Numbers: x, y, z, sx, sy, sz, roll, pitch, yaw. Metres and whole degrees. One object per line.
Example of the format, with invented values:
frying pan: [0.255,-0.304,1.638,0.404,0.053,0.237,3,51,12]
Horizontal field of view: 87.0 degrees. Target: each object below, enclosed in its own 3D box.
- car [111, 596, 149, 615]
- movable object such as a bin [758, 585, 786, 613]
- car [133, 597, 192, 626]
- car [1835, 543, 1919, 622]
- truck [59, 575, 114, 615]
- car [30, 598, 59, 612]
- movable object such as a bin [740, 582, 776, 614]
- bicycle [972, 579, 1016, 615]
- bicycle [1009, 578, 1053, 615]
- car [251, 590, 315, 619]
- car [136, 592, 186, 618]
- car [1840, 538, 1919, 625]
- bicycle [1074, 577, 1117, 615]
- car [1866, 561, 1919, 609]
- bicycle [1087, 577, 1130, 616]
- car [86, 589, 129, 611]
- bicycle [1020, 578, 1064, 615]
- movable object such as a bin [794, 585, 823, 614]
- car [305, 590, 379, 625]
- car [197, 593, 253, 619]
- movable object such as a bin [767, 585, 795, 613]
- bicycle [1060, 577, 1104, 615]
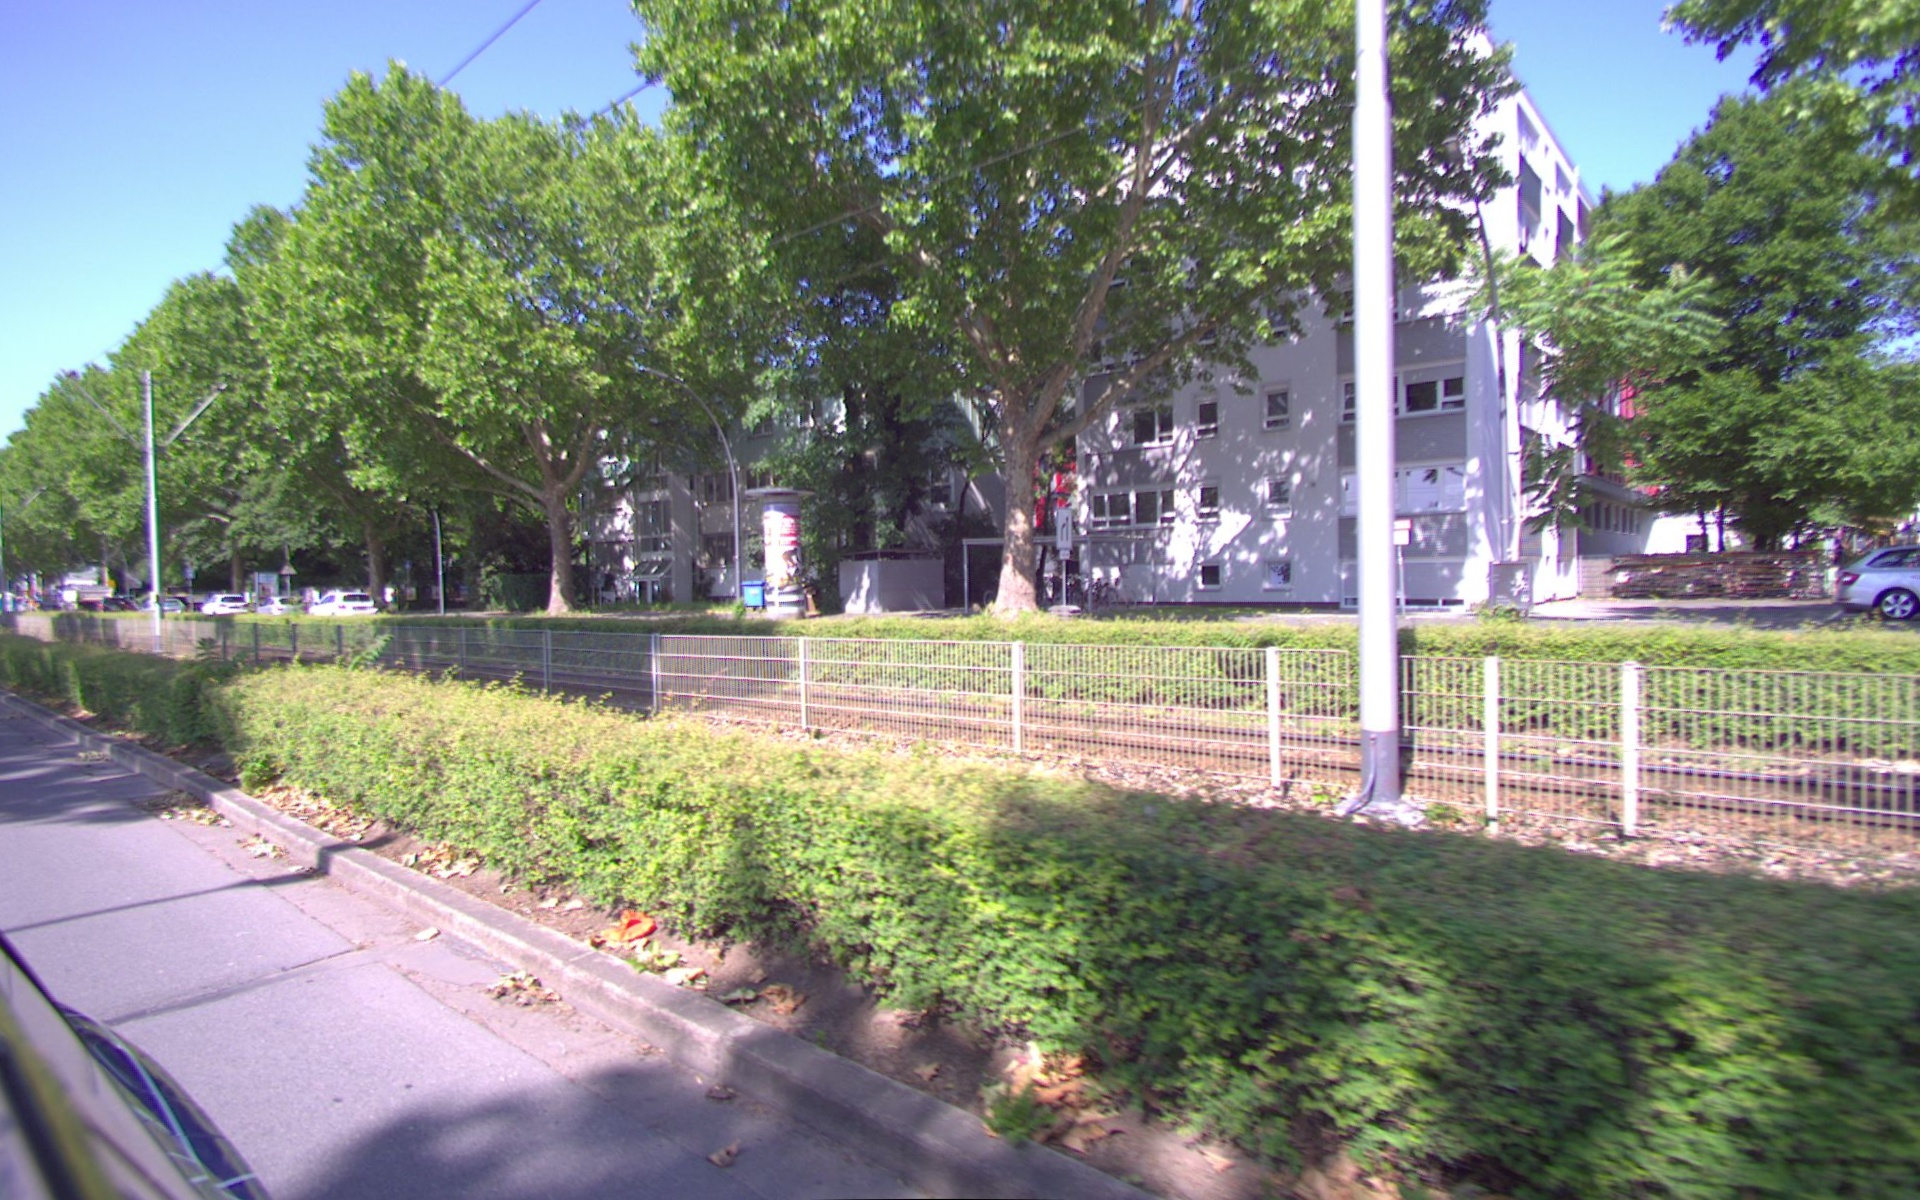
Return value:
car: [-66.163,0.441,80.665,3.863,1.464,1.730,-1,2,41]
movable object such as a bin: [-7.260,-0.035,39.135,0.545,1.044,0.887,-1,2,41]
car: [-43.722,0.634,55.460,3.998,1.464,1.837,-1,2,41]
car: [20.033,-0.376,20.084,3.998,1.561,1.724,-1,2,41]
truck: [-77.321,-0.424,89.512,6.538,3.303,2.717,-1,2,41]
car: [-95.274,0.520,105.330,3.863,1.464,1.730,-1,2,41]
movable object such as a bin: [-7.924,-0.076,39.688,1.098,1.197,0.887,-1,2,41]
bicycle: [1.138,-0.116,33.479,0.421,1.111,1.748,-1,2,40]
bicycle: [2.277,-0.118,32.430,0.421,1.111,1.748,-1,2,40]
car: [-36.125,0.238,53.947,3.998,1.464,1.833,-1,2,41]
car: [-52.145,0.309,66.052,3.998,1.593,1.837,-1,2,41]
car: [18.664,-0.376,18.133,4.347,1.561,1.724,-1,2,41]
bicycle: [4.161,-0.126,30.970,0.421,1.111,1.748,-1,2,40]
car: [28.896,-0.465,29.438,3.752,1.364,1.627,-1,2,41]
bicycle: [4.507,-0.126,30.661,0.421,1.111,1.748,-1,2,40]
car: [-61.231,0.020,72.692,3.890,1.424,1.680,-1,4,41]
bicycle: [2.603,-0.118,32.136,0.421,1.111,1.748,-1,2,40]
movable object such as a bin: [-5.608,-0.036,37.541,0.545,1.044,0.887,-1,2,41]
car: [-28.017,0.350,45.865,3.911,1.502,1.796,-1,-1,41]
car: [-44.262,0.352,60.911,3.998,1.464,1.837,-1,2,41]
movable object such as a bin: [-6.859,-0.035,38.734,0.545,1.044,0.887,-1,2,41]
bicycle: [3.781,-0.125,31.292,0.421,1.111,1.748,-1,2,40]
